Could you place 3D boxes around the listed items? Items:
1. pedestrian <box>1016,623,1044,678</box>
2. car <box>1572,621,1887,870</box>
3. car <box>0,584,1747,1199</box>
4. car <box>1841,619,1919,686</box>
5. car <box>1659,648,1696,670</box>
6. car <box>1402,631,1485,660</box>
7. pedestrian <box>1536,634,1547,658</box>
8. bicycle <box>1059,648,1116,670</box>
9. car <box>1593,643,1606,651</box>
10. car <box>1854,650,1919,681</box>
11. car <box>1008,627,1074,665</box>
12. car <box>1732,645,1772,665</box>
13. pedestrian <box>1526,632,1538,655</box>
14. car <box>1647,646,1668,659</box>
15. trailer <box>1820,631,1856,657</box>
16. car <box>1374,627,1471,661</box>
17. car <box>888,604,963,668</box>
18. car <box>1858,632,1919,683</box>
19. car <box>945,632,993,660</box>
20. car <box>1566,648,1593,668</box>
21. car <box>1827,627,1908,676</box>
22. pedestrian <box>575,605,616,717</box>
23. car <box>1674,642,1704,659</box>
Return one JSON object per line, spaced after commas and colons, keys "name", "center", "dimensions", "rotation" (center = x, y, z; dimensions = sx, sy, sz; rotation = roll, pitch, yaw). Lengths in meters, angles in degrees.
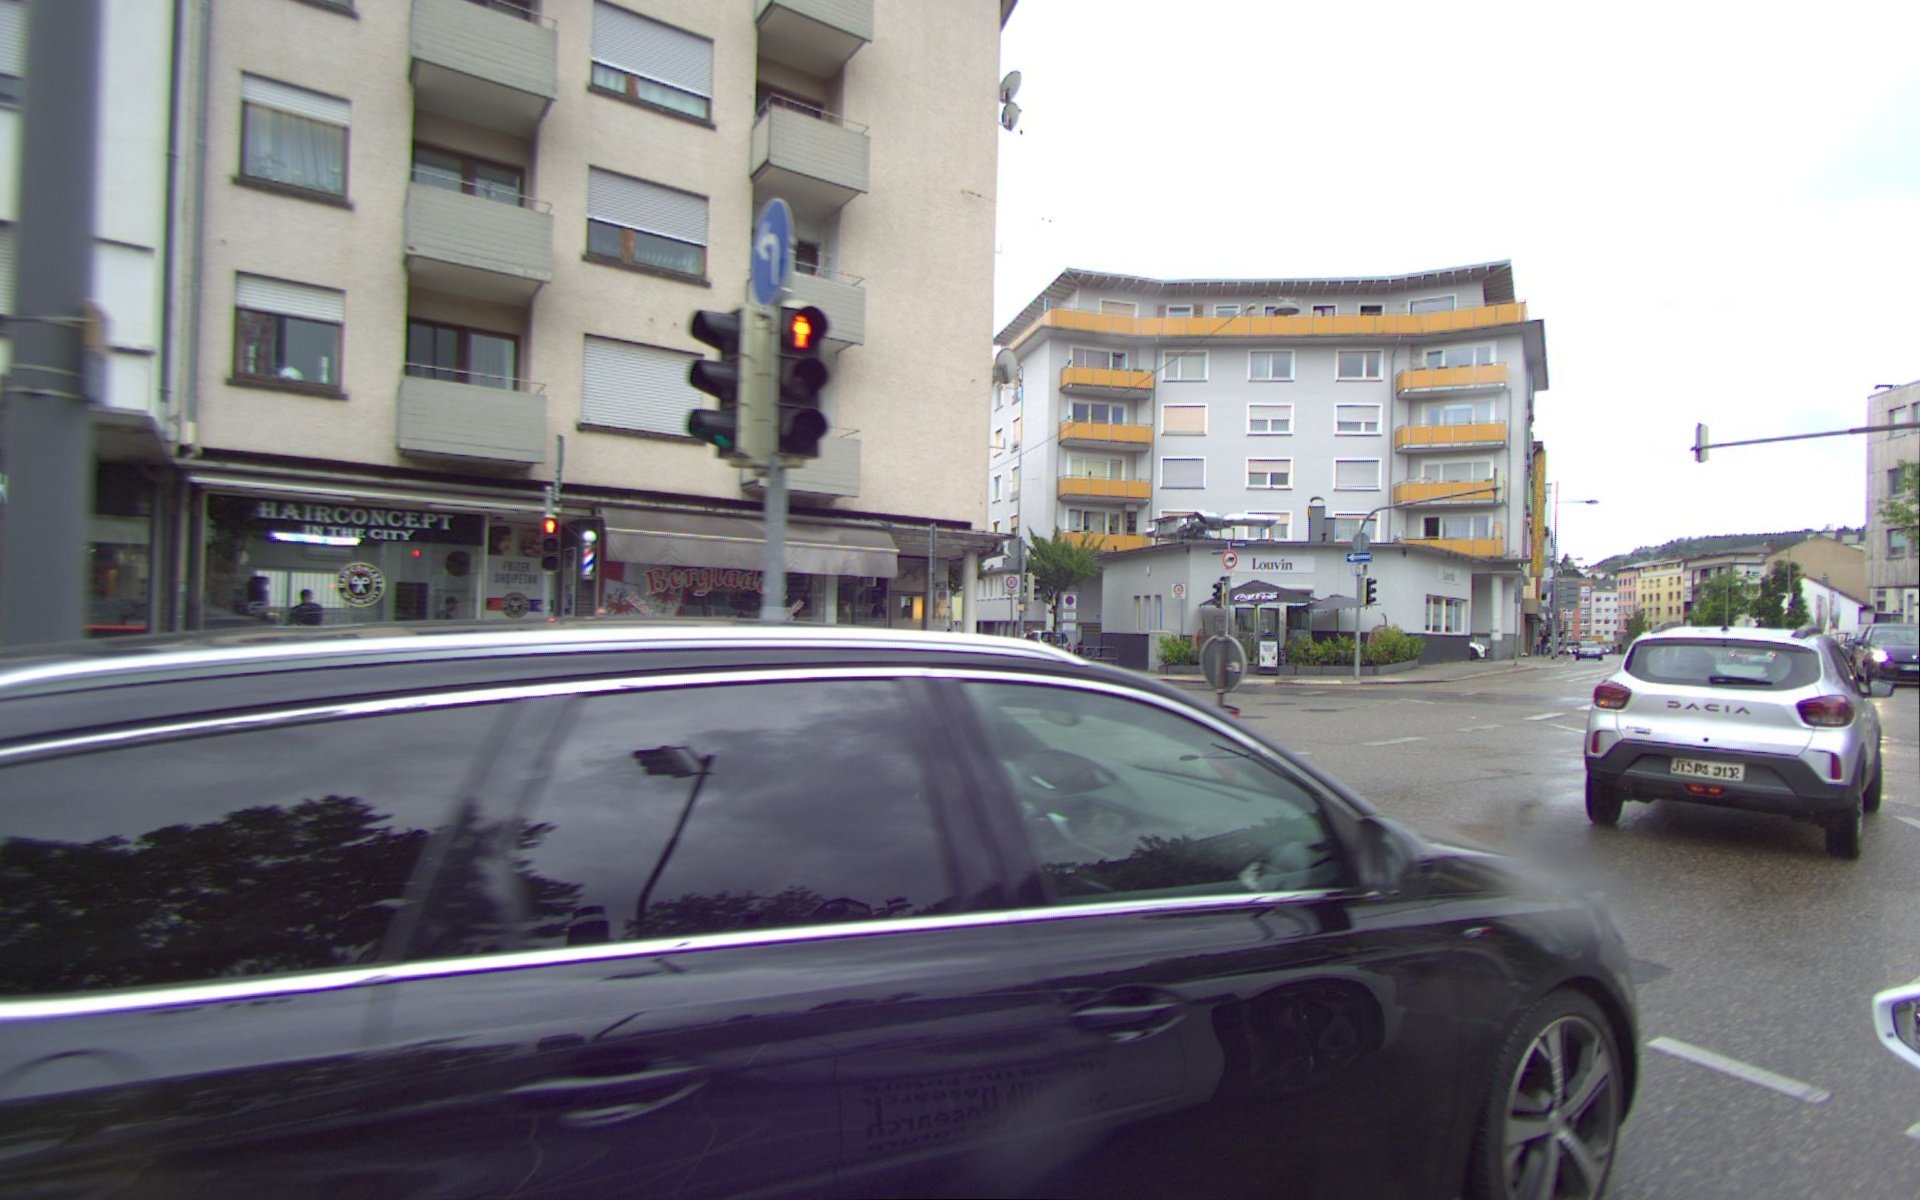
{"name": "pedestrian", "center": [2.175, 1.566, 31.262], "dimensions": [0.596, 1.672, 0.524], "rotation": [5, -2, -28]}
{"name": "car", "center": [6.177, 0.937, 7.907], "dimensions": [1.521, 1.481, 3.606], "rotation": [0, -1, 45]}
{"name": "car", "center": [-0.157, 0.777, 2.445], "dimensions": [4.346, 1.453, 1.790], "rotation": [3, -1, -31]}
{"name": "car", "center": [24.737, 1.351, 26.637], "dimensions": [1.733, 1.636, 4.195], "rotation": [-1, -2, 37]}
{"name": "car", "center": [51.945, 4.248, 72.742], "dimensions": [1.707, 1.458, 4.406], "rotation": [0, -3, 29]}
{"name": "car", "center": [23.788, 2.235, 49.451], "dimensions": [3.570, 1.355, 1.493], "rotation": [-3, -3, 30]}
{"name": "pedestrian", "center": [44.101, 3.483, 76.129], "dimensions": [0.567, 1.812, 0.825], "rotation": [6, 1, 32]}
{"name": "bicycle", "center": [4.958, 2.297, 39.056], "dimensions": [2.177, 0.819, 0.617], "rotation": [1, -1, -20]}
{"name": "car", "center": [109.476, 8.064, 172.015], "dimensions": [1.696, 1.441, 4.157], "rotation": [-2, -4, 31]}
{"name": "car", "center": [45.271, 3.148, 48.707], "dimensions": [1.762, 1.421, 4.628], "rotation": [-1, -2, 27]}
{"name": "car", "center": [3.540, 2.003, 44.480], "dimensions": [1.869, 1.630, 3.992], "rotation": [1, -1, -12]}
{"name": "car", "center": [62.261, 4.298, 79.039], "dimensions": [1.639, 1.415, 3.863], "rotation": [1, -1, 26]}
{"name": "pedestrian", "center": [43.582, 3.345, 76.533], "dimensions": [0.621, 1.697, 0.906], "rotation": [6, 1, 31]}
{"name": "car", "center": [86.820, 6.478, 125.026], "dimensions": [1.924, 1.415, 3.858], "rotation": [1, 0, 31]}
{"name": "trailer", "center": [94.483, 4.724, 108.145], "dimensions": [2.098, 2.751, 5.376], "rotation": [-2, -3, 33]}
{"name": "car", "center": [20.941, 2.023, 45.477], "dimensions": [3.759, 1.439, 1.794], "rotation": [-3, -5, 32]}
{"name": "car", "center": [-1.550, 1.531, 43.110], "dimensions": [2.364, 2.542, 5.247], "rotation": [1, -2, -12]}
{"name": "car", "center": [28.477, 1.713, 30.459], "dimensions": [1.536, 1.416, 3.712], "rotation": [-3, -3, 38]}
{"name": "car", "center": [0.464, 2.565, 56.642], "dimensions": [1.869, 1.457, 3.992], "rotation": [1, -1, -12]}
{"name": "car", "center": [47.219, 4.448, 76.521], "dimensions": [1.704, 1.384, 4.101], "rotation": [0, -3, 32]}
{"name": "car", "center": [31.710, 1.755, 35.211], "dimensions": [1.733, 1.636, 4.195], "rotation": [-1, -2, 37]}
{"name": "pedestrian", "center": [-5.898, 0.979, 16.259], "dimensions": [0.518, 1.754, 0.450], "rotation": [1, 3, -29]}
{"name": "car", "center": [67.492, 4.655, 93.030], "dimensions": [1.639, 1.415, 3.862], "rotation": [1, 0, 27]}
